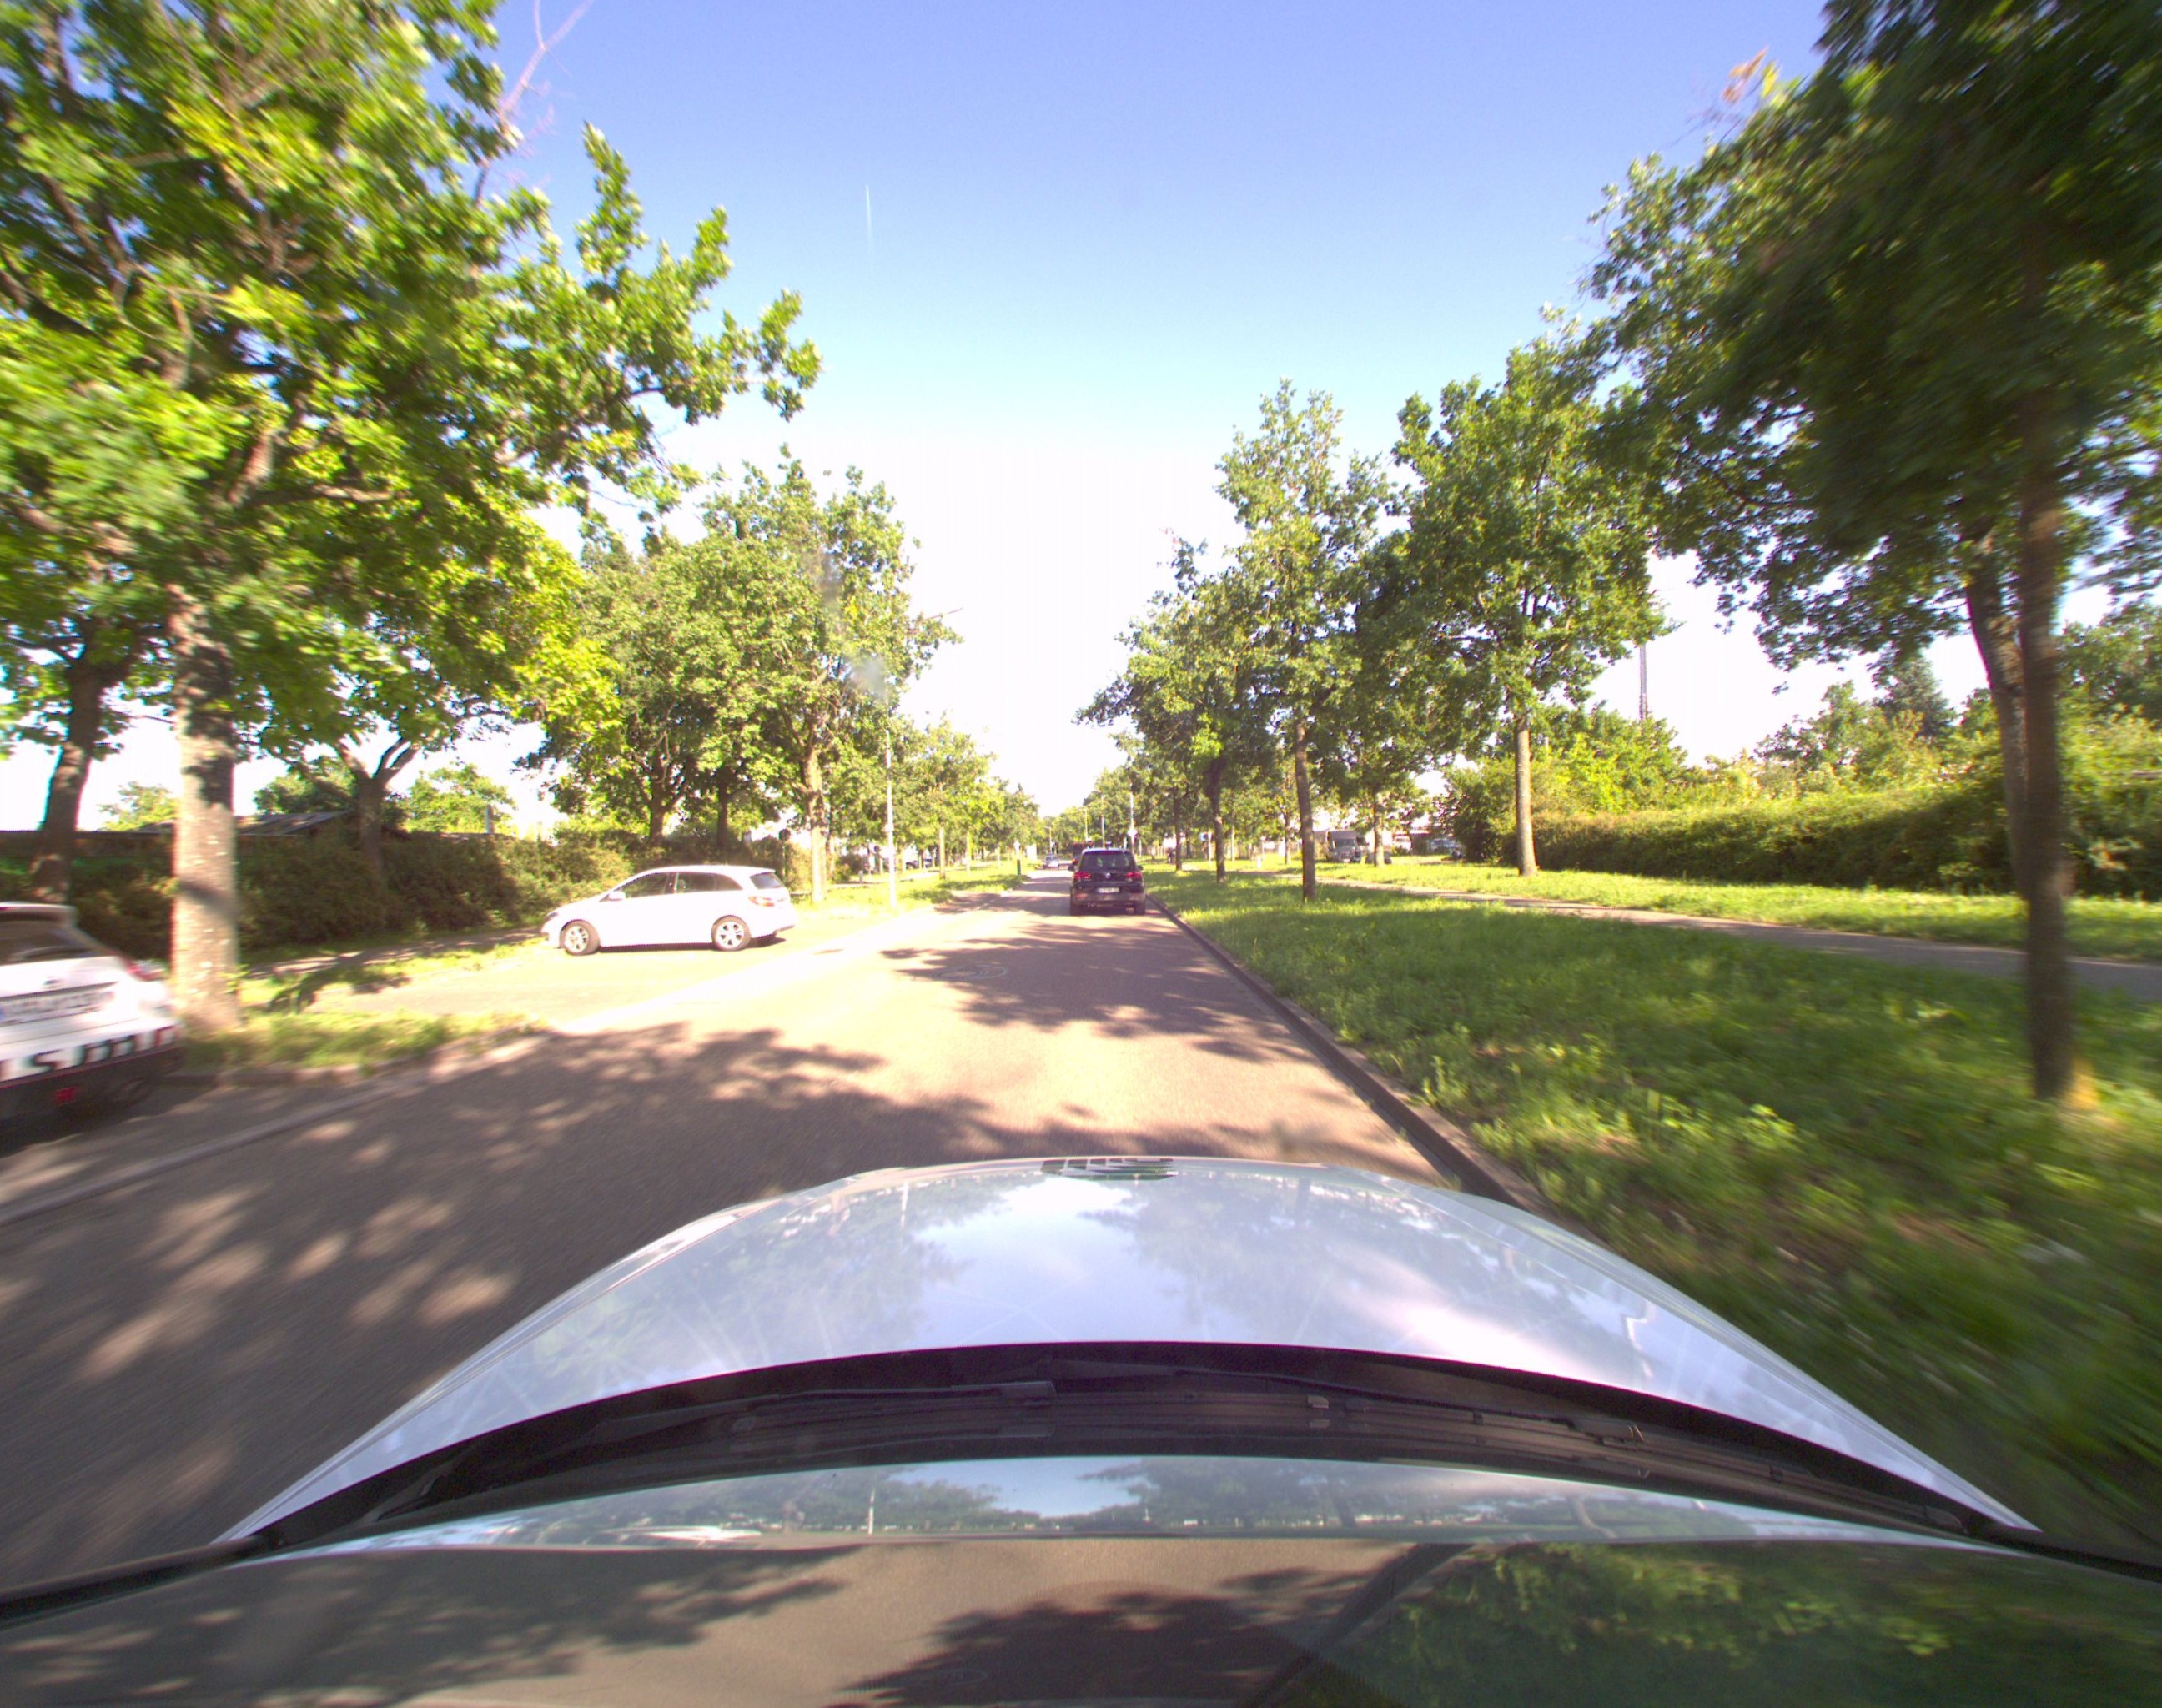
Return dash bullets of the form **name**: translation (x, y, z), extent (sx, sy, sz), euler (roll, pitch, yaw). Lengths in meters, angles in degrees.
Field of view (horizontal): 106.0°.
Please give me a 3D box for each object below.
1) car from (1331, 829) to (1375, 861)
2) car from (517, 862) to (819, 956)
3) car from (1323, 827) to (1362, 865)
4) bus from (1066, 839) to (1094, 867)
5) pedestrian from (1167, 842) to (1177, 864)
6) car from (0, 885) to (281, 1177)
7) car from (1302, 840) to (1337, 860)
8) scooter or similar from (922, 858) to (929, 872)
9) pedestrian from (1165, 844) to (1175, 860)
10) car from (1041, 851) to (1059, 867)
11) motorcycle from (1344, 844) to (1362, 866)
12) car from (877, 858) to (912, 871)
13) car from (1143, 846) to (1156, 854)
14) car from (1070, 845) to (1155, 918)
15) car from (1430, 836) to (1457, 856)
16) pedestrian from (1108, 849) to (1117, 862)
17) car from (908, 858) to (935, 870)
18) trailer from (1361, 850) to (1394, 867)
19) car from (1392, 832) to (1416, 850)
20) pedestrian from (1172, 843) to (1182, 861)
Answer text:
- **car**: translation (23.922, -0.806, 71.894), extent (2.154, 2.643, 4.849), euler (-2, 0, -1)
- **car**: translation (-7.666, 0.977, 15.576), extent (4.616, 1.558, 2.189), euler (-1, 0, -3)
- **car**: translation (19.793, -0.676, 61.844), extent (2.071, 2.565, 5.991), euler (-1, 3, 11)
- **bus**: translation (-0.228, -0.123, 107.859), extent (2.759, 3.456, 11.193), euler (-2, 0, -4)
- **pedestrian**: translation (7.894, -0.092, 70.625), extent (0.724, 1.812, 0.867), euler (-2, 2, -2)
- **car**: translation (-8.057, 1.018, 4.877), extent (4.398, 1.511, 2.088), euler (-1, 0, 0)
- **car**: translation (21.331, -0.396, 73.085), extent (2.000, 1.664, 3.595), euler (-2, 0, -1)
- **scooter or similar**: translation (-15.384, 1.068, 80.425), extent (0.393, 1.279, 1.441), euler (-2, 0, 0)
- **pedestrian**: translation (8.677, -0.189, 79.459), extent (0.724, 1.603, 0.867), euler (-2, 0, -2)
- **car**: translation (-3.272, 0.546, 87.080), extent (1.760, 1.528, 4.493), euler (-4, 1, -1)
- **motorcycle**: translation (17.194, 0.098, 51.502), extent (0.658, 1.231, 2.412), euler (-2, -4, 11)
- **car**: translation (-24.161, 1.340, 105.565), extent (3.976, 1.401, 1.976), euler (-3, 0, -43)
- **car**: translation (16.800, -1.021, 199.069), extent (2.182, 1.744, 4.631), euler (-2, 0, -6)
- **car**: translation (0.700, 0.611, 21.110), extent (1.930, 1.656, 4.425), euler (-1, 1, -1)
- **car**: translation (31.304, -0.709, 70.403), extent (1.819, 1.640, 4.020), euler (-2, 0, 20)
- **pedestrian**: translation (3.916, 0.168, 101.963), extent (1.017, 1.651, 1.099), euler (-2, 0, -2)
- **car**: translation (-25.772, 1.605, 131.484), extent (3.716, 1.618, 1.971), euler (-2, 0, 13)
- **trailer**: translation (18.029, 0.263, 49.575), extent (1.568, 0.868, 2.060), euler (-2, -4, 11)
- **car**: translation (32.062, -1.274, 80.916), extent (1.821, 1.640, 4.018), euler (-2, 0, 16)
- **pedestrian**: translation (9.492, -0.216, 80.276), extent (0.724, 1.755, 0.867), euler (-4, 0, -1)
